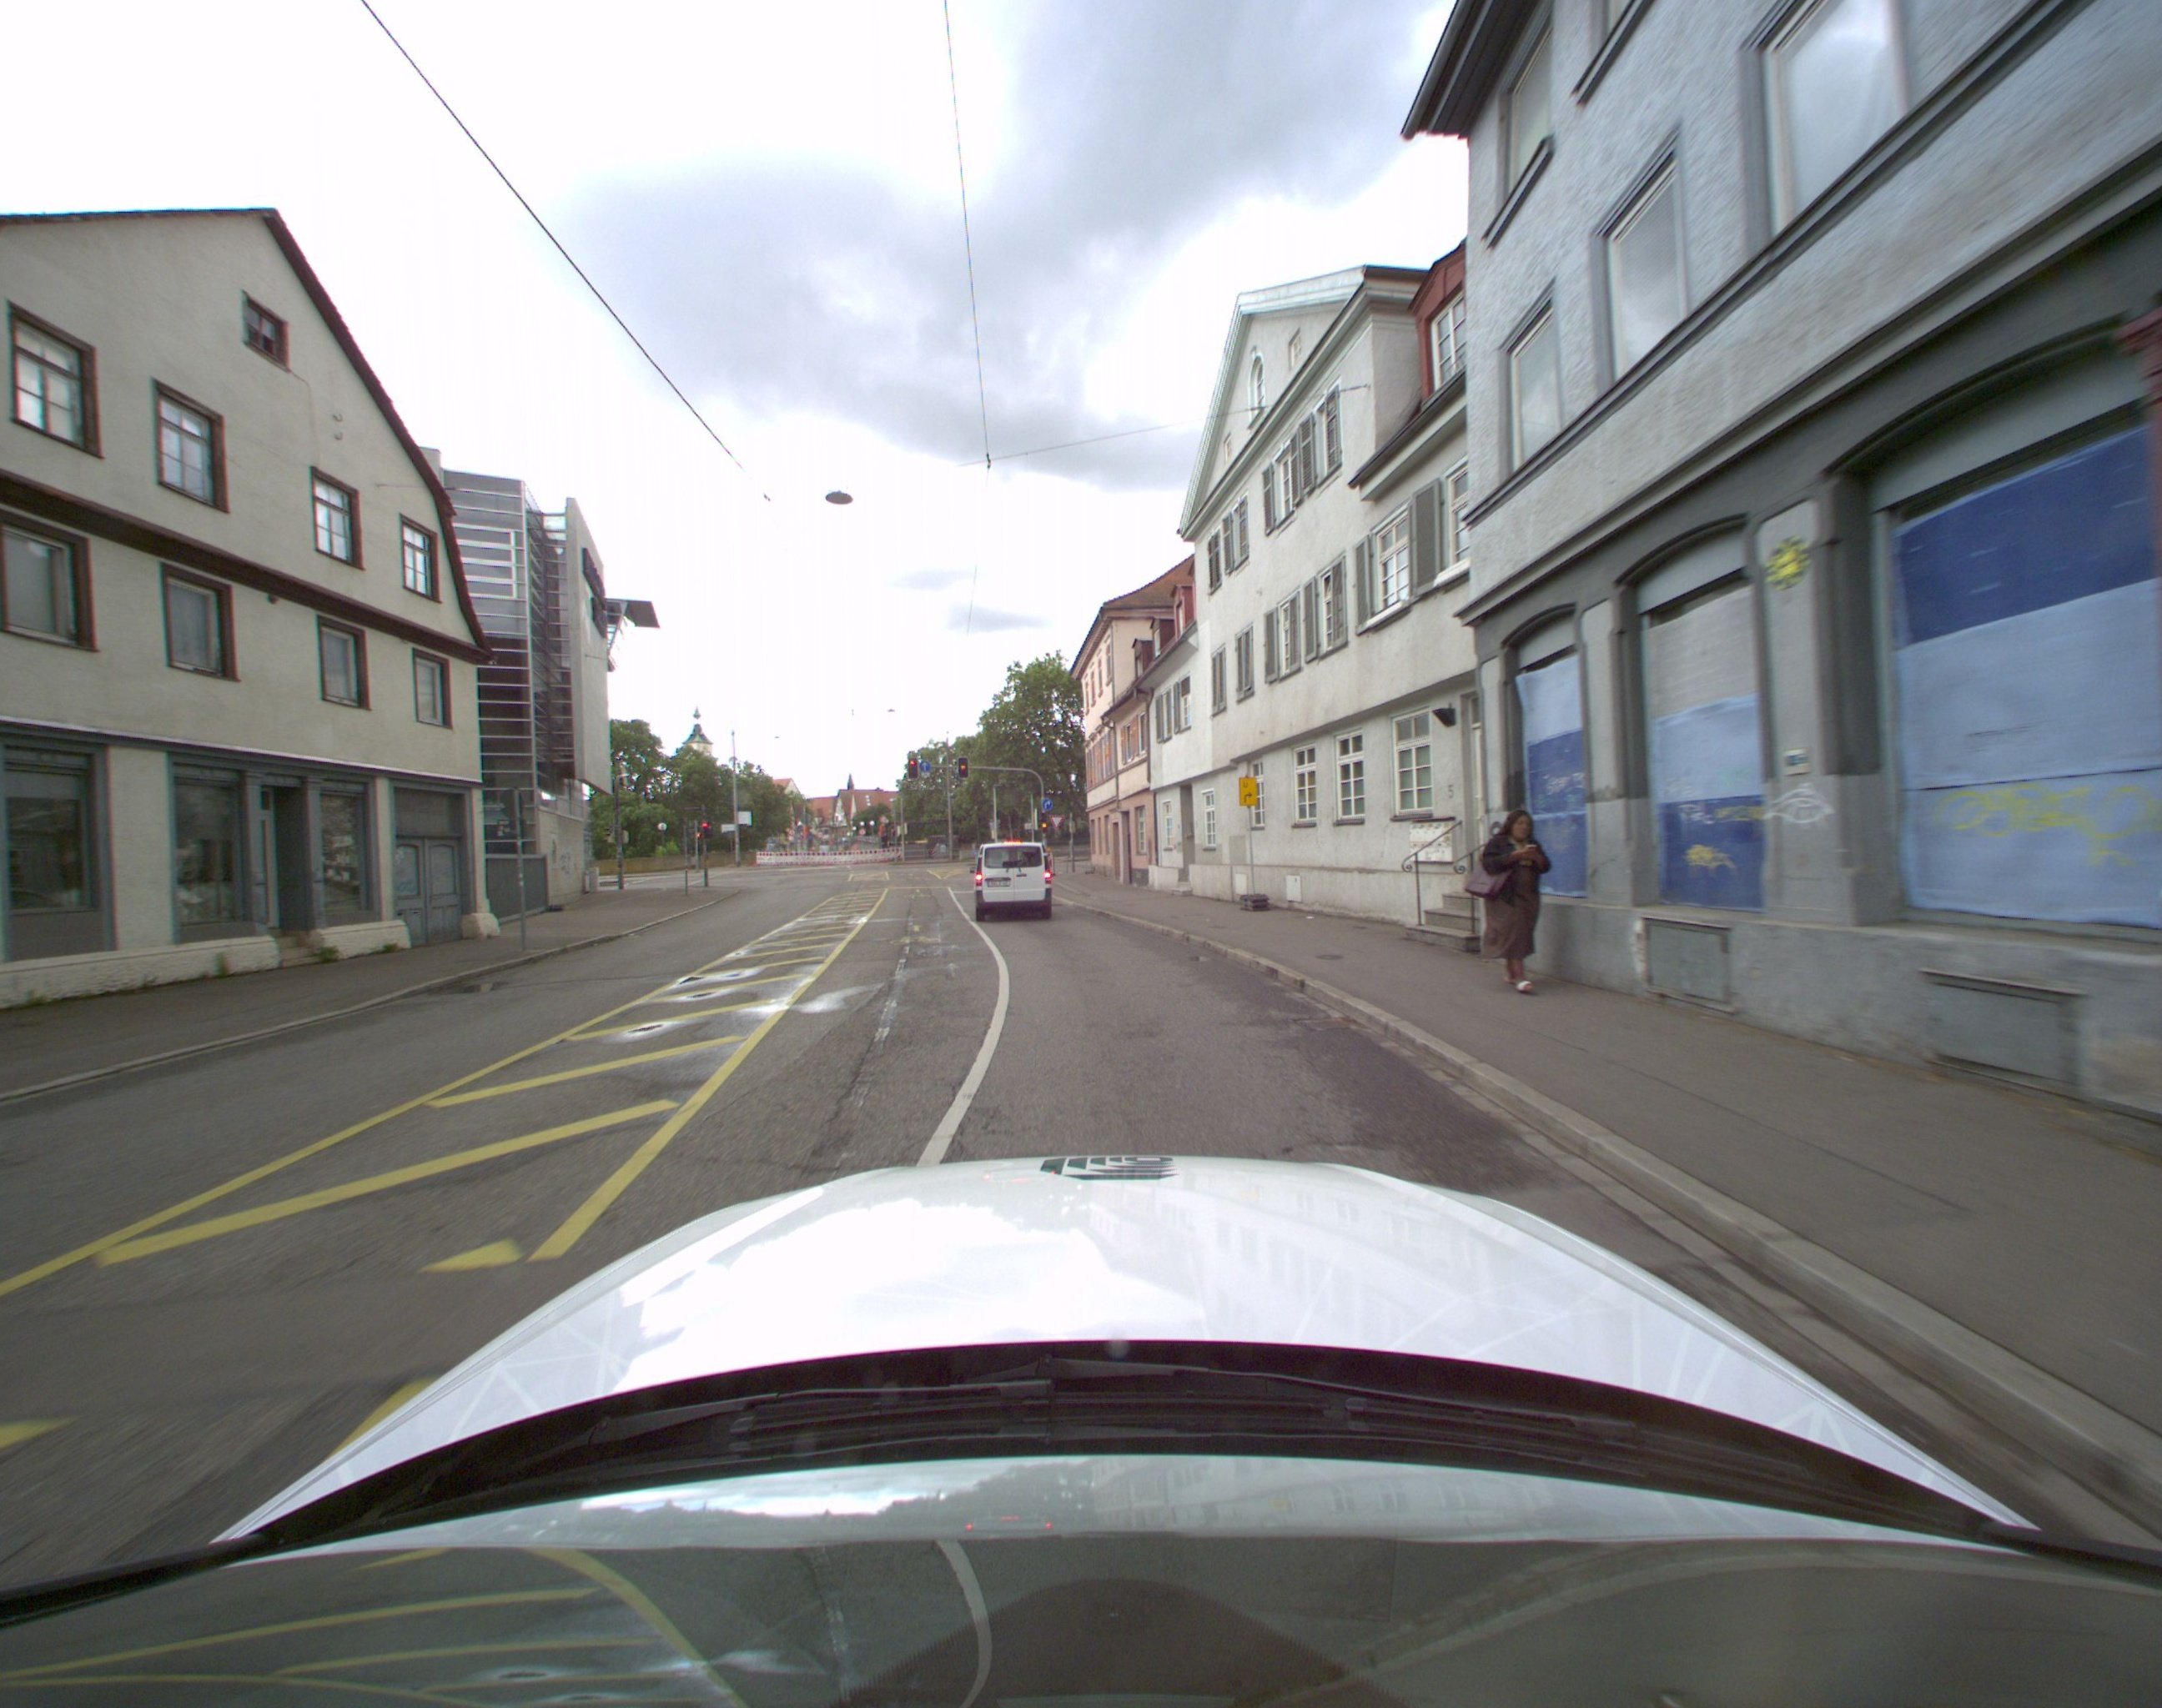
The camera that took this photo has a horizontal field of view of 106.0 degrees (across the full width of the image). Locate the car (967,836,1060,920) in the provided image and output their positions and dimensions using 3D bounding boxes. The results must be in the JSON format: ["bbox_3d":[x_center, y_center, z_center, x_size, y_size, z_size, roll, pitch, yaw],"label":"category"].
[{"bbox_3d":[-1.864,0.602,21.156,1.994,1.923,4.232,-1,-1,-11],"label":"car"}]

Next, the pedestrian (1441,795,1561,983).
[{"bbox_3d":[3.908,0.306,7.639,0.751,1.667,0.810,0,0,4],"label":"pedestrian"}]
